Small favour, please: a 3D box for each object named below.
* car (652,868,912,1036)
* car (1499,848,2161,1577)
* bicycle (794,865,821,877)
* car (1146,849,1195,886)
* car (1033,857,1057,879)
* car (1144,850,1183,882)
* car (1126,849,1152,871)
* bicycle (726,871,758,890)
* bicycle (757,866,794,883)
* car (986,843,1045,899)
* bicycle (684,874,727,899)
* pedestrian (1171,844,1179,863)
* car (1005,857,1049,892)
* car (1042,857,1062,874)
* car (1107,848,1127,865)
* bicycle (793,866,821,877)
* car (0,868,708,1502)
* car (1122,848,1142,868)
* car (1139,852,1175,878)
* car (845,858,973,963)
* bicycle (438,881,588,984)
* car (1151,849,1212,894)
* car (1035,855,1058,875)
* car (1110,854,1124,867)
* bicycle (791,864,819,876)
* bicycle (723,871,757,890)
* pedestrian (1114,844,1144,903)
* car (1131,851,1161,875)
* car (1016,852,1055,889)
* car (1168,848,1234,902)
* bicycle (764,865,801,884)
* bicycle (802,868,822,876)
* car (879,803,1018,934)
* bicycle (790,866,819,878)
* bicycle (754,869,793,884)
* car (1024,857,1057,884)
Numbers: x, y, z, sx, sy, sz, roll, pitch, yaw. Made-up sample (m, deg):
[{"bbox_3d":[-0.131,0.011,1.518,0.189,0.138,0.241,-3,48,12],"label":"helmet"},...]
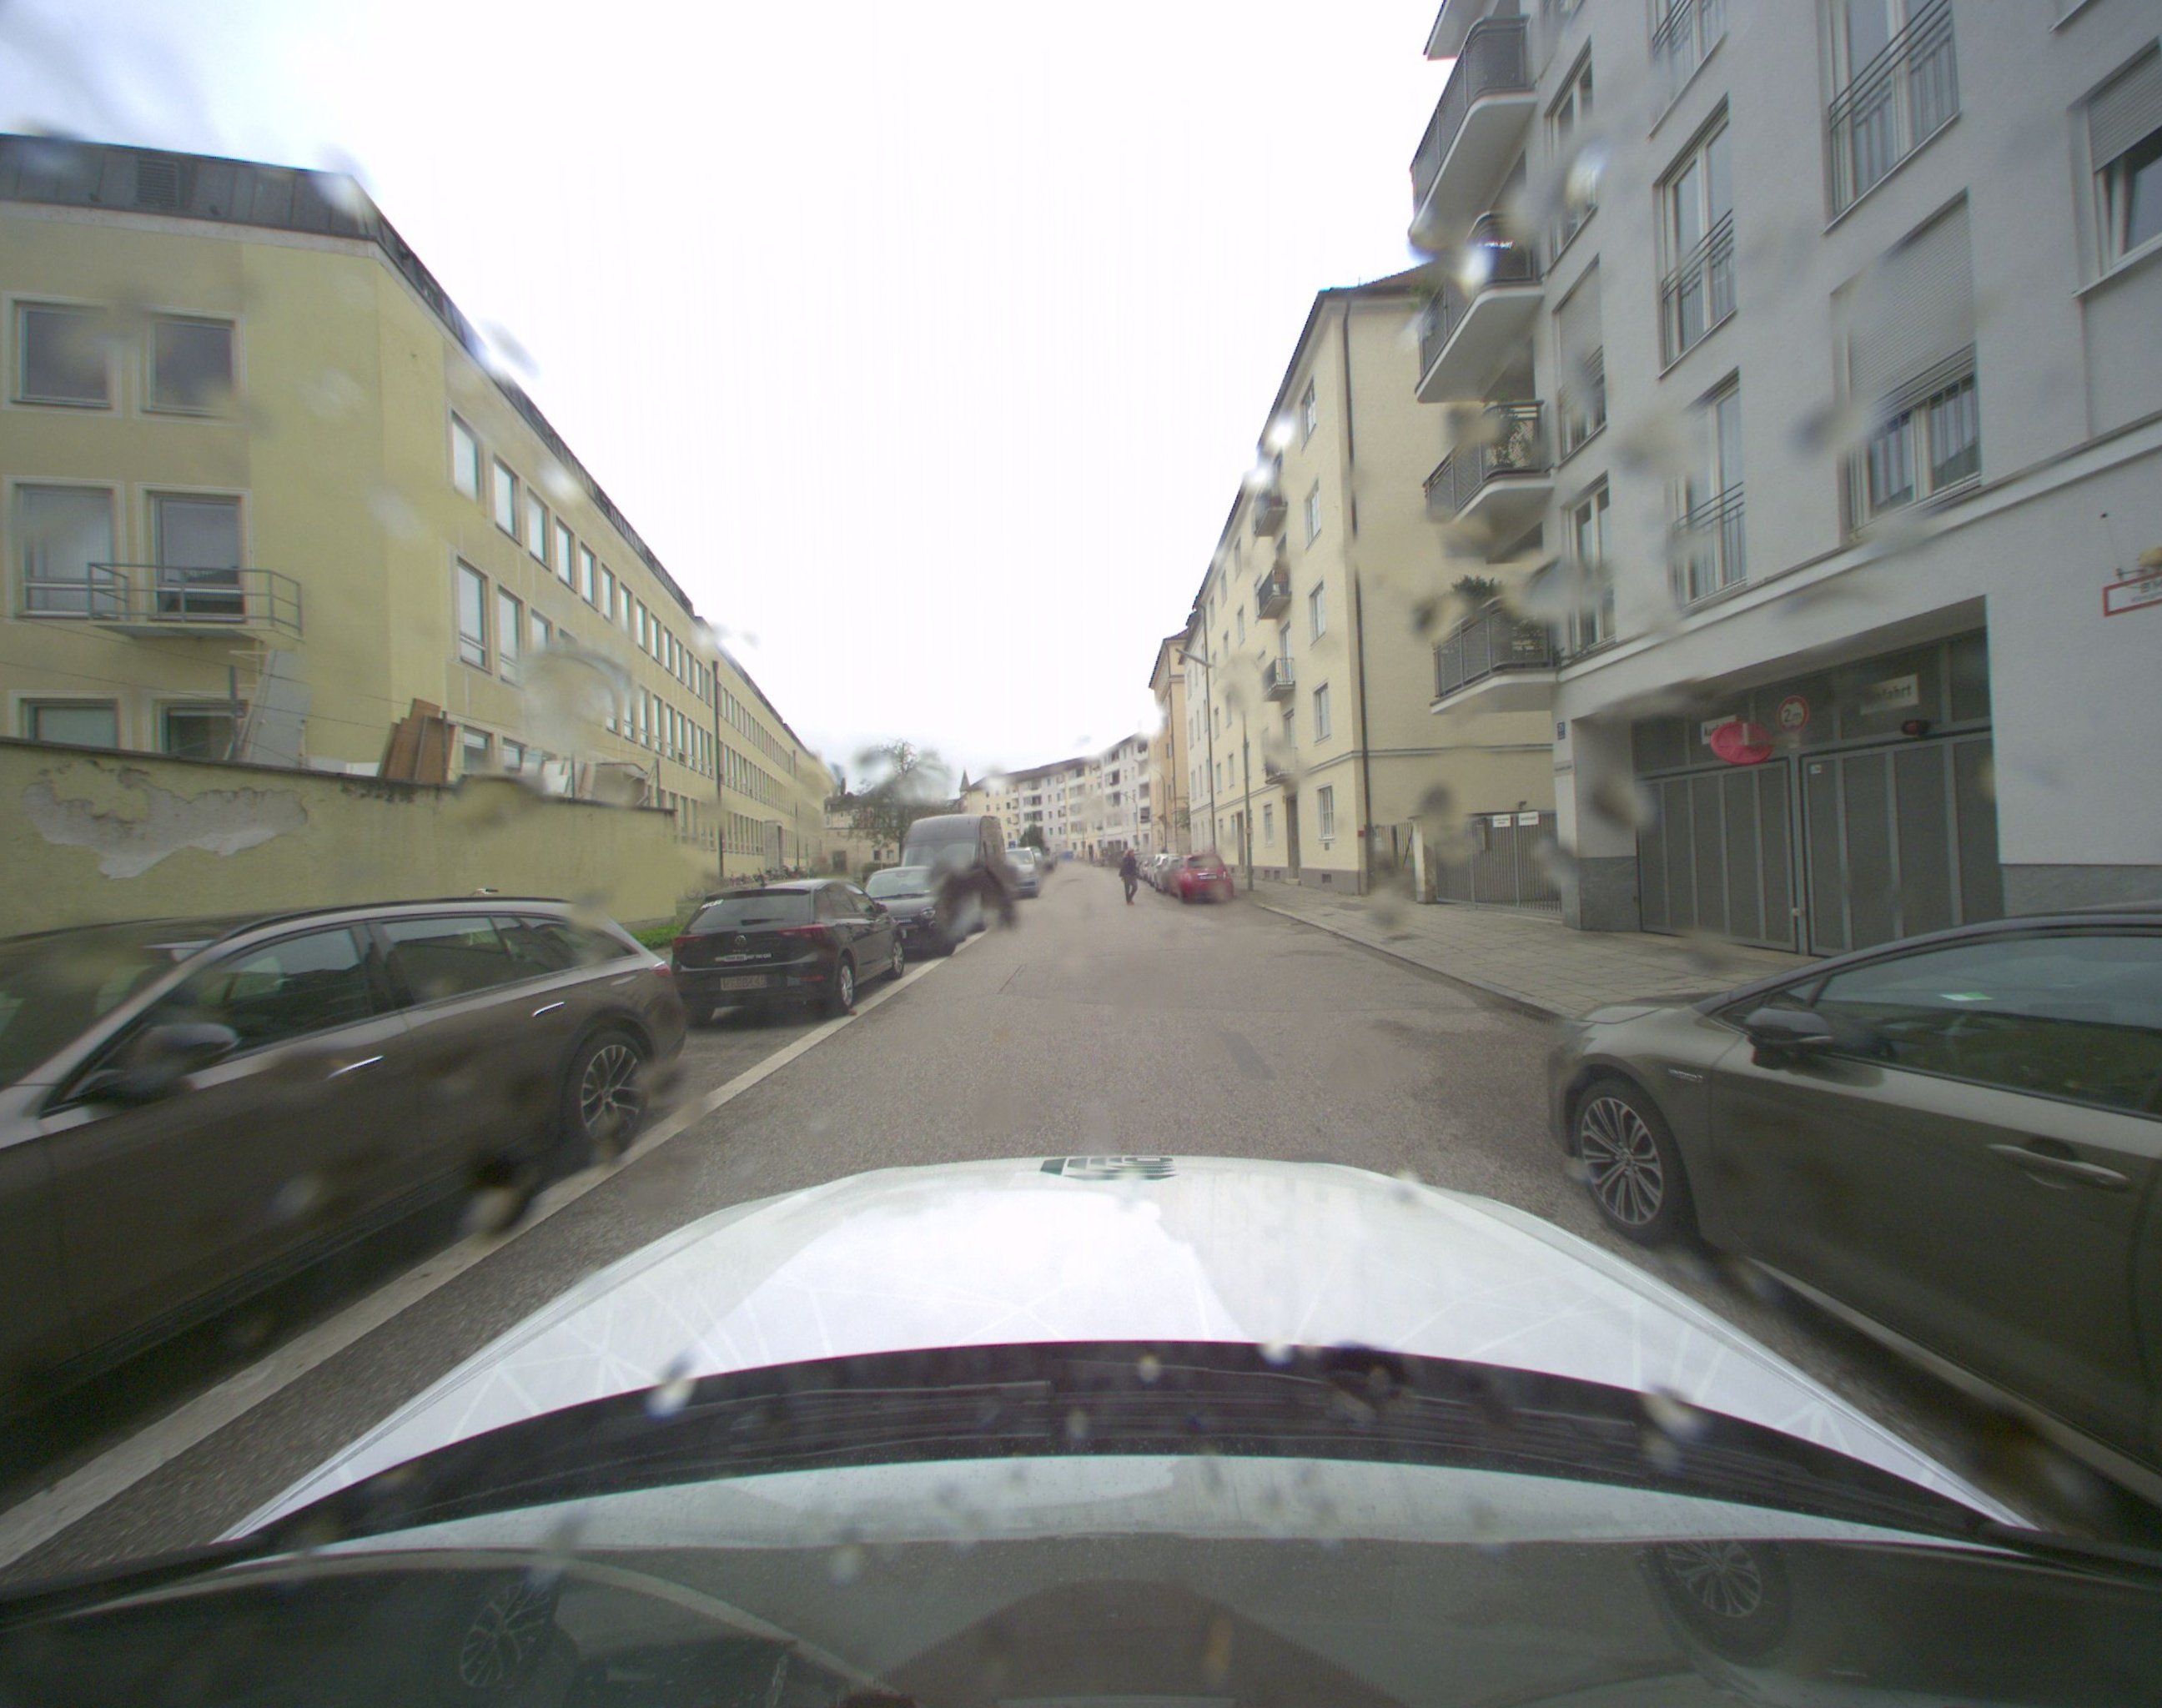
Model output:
[{"bbox_3d":[-3.260,0.969,9.720,1.696,1.445,3.823,-2,1,-1],"label":"car"},{"bbox_3d":[2.994,0.705,1.995,1.758,1.408,4.076,-2,-1,-1],"label":"car"},{"bbox_3d":[-22.753,1.411,67.786,2.124,0.835,0.644,-2,-1,-18],"label":"bicycle"},{"bbox_3d":[3.983,0.554,36.824,1.687,1.491,4.282,-3,0,0],"label":"car"},{"bbox_3d":[-2.559,0.982,59.000,1.619,1.419,3.978,-3,0,-2],"label":"car"},{"bbox_3d":[4.157,0.558,41.674,1.594,1.491,3.799,-2,0,0],"label":"car"},{"bbox_3d":[4.327,0.399,61.091,1.585,1.582,4.298,-1,0,0],"label":"car"},{"bbox_3d":[-18.208,1.434,43.805,1.530,0.955,0.364,-2,0,-15],"label":"bicycle"},{"bbox_3d":[-20.072,1.350,53.508,2.211,1.037,0.492,-2,-1,-18],"label":"bicycle"},{"bbox_3d":[-2.531,0.604,32.482,1.877,1.931,4.599,-4,0,-1],"label":"car"},{"bbox_3d":[-15.163,1.296,32.898,1.530,0.955,0.364,-2,0,-15],"label":"bicycle"},{"bbox_3d":[8.225,-0.019,71.388,0.664,1.692,0.690,0,-1,1],"label":"pedestrian"},{"bbox_3d":[-2.396,0.906,37.160,1.647,1.373,3.652,-4,0,0],"label":"car"},{"bbox_3d":[-2.612,0.998,73.404,1.619,1.419,3.646,-3,0,-1],"label":"car"},{"bbox_3d":[3.870,0.281,87.402,1.601,1.715,3.080,-1,0,-8],"label":"car"},{"bbox_3d":[-22.498,1.456,66.976,2.124,0.835,0.644,-2,-1,-18],"label":"bicycle"},{"bbox_3d":[-3.544,0.916,3.131,1.759,1.538,4.546,-4,-1,4],"label":"car"},{"bbox_3d":[4.392,0.331,70.754,1.469,1.641,4.000,-1,0,0],"label":"car"},{"bbox_3d":[4.327,0.614,46.839,1.687,1.432,3.944,-1,-1,0],"label":"car"},{"bbox_3d":[-2.895,0.885,14.396,1.582,1.538,3.540,-2,0,-3],"label":"car"},{"bbox_3d":[-7.601,1.010,11.015,0.675,1.192,1.779,-2,0,3],"label":"bicycle"},{"bbox_3d":[3.696,0.647,30.630,1.687,1.491,4.342,-3,-1,0],"label":"car"},{"bbox_3d":[-2.676,0.873,64.208,1.619,1.419,3.980,-3,0,-1],"label":"car"},{"bbox_3d":[3.712,0.682,83.234,1.268,1.299,2.797,-2,0,0],"label":"car"},{"bbox_3d":[-23.531,1.362,69.382,2.211,0.896,0.644,-2,-1,-18],"label":"bicycle"},{"bbox_3d":[-17.693,1.364,42.274,1.530,0.955,0.364,-2,0,-15],"label":"bicycle"},{"bbox_3d":[1.447,0.589,24.646,0.793,1.728,0.671,-1,-2,-6],"label":"pedestrian"},{"bbox_3d":[4.102,0.558,51.776,1.585,1.432,4.421,-1,0,0],"label":"car"},{"bbox_3d":[-2.332,0.822,42.890,1.696,1.691,4.028,-4,0,0],"label":"car"},{"bbox_3d":[3.752,0.620,25.944,1.589,1.509,3.802,-2,0,2],"label":"car"},{"bbox_3d":[-20.571,1.398,56.107,2.250,1.168,1.042,-2,0,-15],"label":"bicycle"},{"bbox_3d":[-25.434,1.723,77.031,1.742,0.714,0.611,-2,-1,-18],"label":"bicycle"},{"bbox_3d":[-2.955,0.270,19.586,2.079,2.636,5.381,-2,0,3],"label":"car"},{"bbox_3d":[-22.457,1.445,66.177,2.211,0.835,0.492,-2,-1,-18],"label":"bicycle"},{"bbox_3d":[-19.365,1.412,51.282,2.211,0.835,0.492,-2,-1,-18],"label":"bicycle"},{"bbox_3d":[-2.352,0.945,48.155,1.618,1.412,3.799,-4,0,0],"label":"car"}]
